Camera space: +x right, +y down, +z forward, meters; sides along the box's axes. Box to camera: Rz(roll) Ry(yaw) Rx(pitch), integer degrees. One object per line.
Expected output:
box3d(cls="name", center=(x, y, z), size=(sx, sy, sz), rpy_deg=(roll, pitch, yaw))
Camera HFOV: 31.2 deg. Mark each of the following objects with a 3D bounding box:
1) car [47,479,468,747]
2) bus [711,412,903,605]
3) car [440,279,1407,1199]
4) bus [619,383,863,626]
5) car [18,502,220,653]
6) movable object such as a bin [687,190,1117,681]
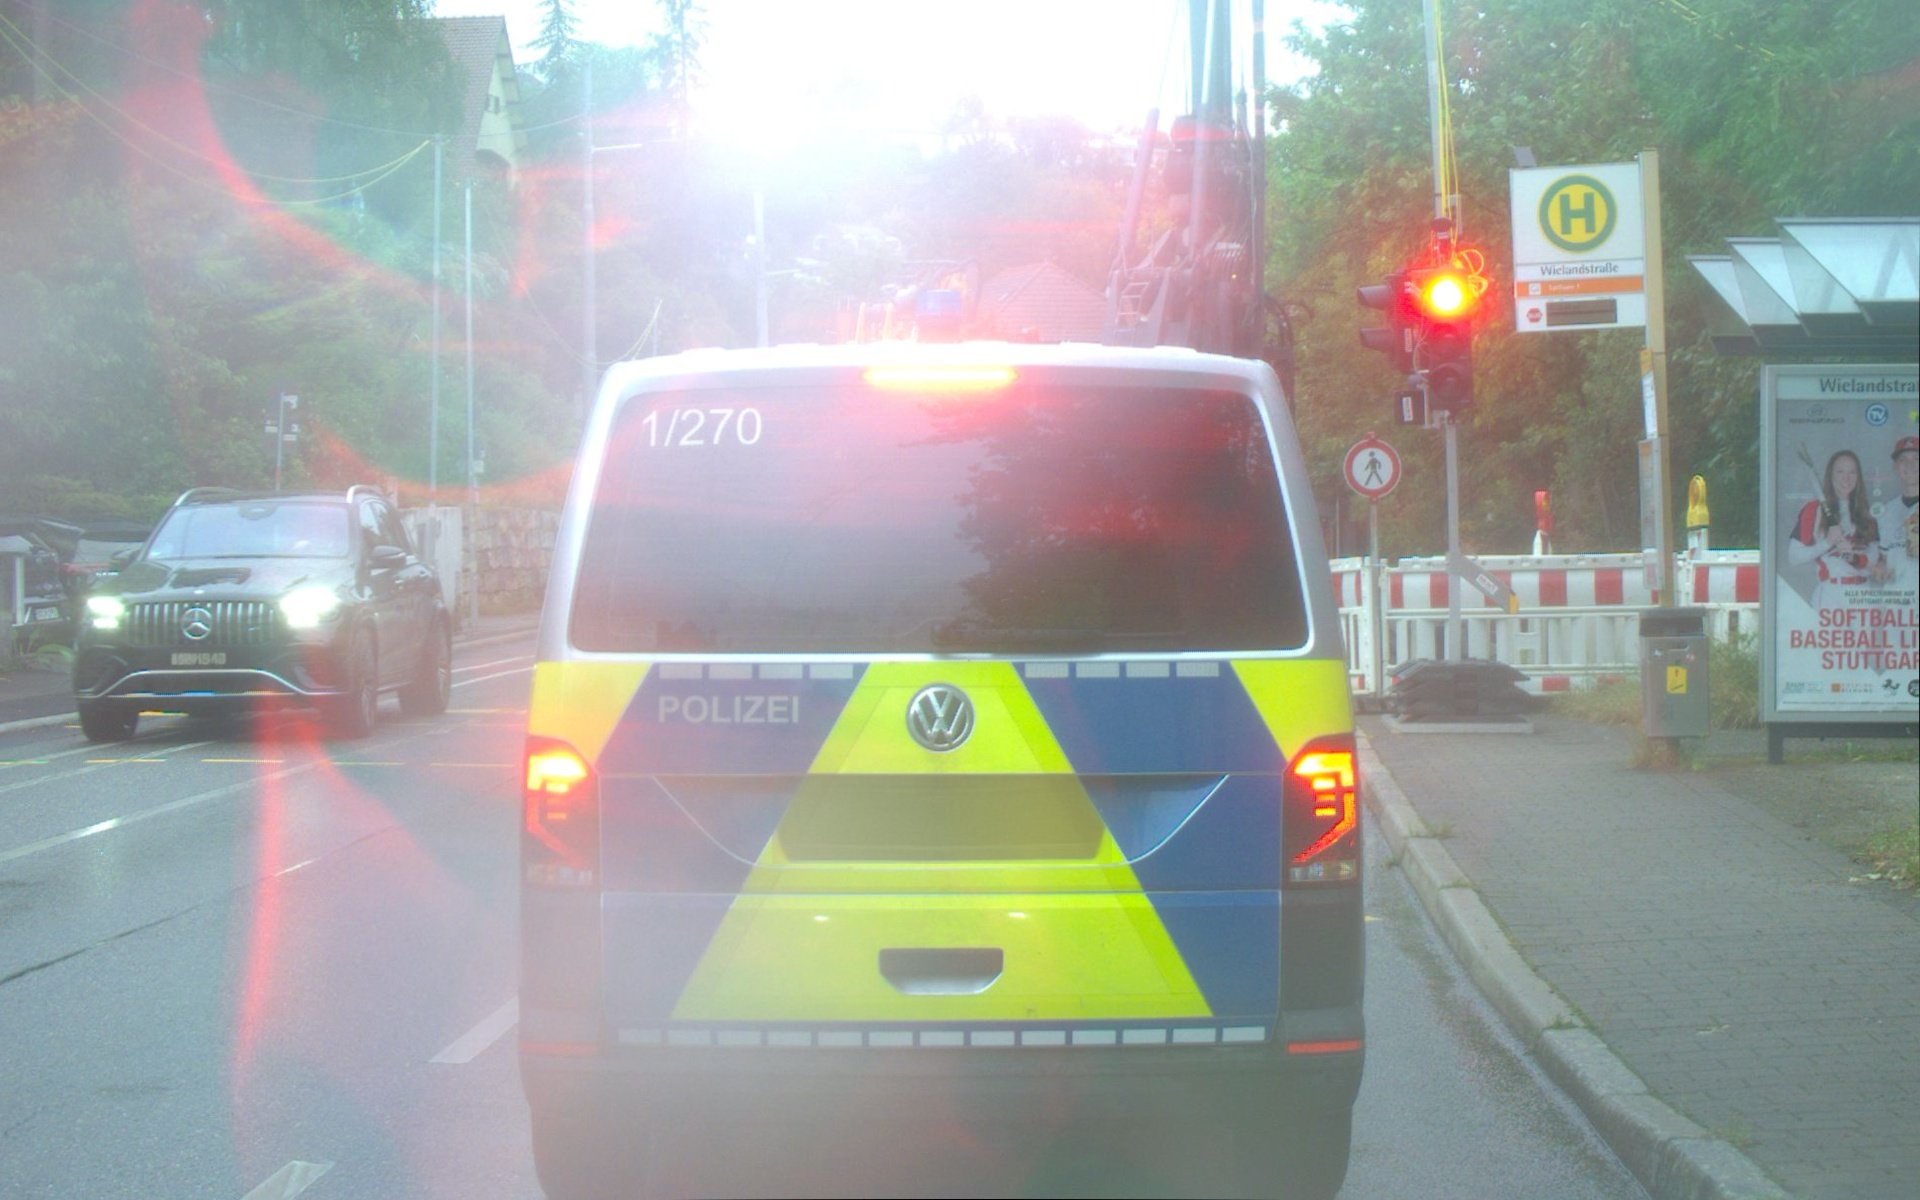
box3d(cls="car", center=(-4.981, 0.029, 25.034), size=(1.979, 1.742, 4.553), rpy_deg=(1, 1, 2))
box3d(cls="bus", center=(-2.991, -1.849, 70.753), size=(2.841, 3.612, 12.005), rpy_deg=(1, 1, 3))
box3d(cls="car", center=(-0.098, 0.359, 8.825), size=(1.893, 2.043, 4.000), rpy_deg=(1, 1, -1))
box3d(cls="bus", center=(-3.537, -1.598, 58.882), size=(2.841, 3.705, 12.005), rpy_deg=(1, 1, 3))
box3d(cls="car", center=(-9.329, -0.280, 37.968), size=(1.765, 1.481, 3.743), rpy_deg=(1, 3, -20))
box3d(cls="movable object such as a bin", center=(-0.426, -1.458, 31.625), size=(2.832, 4.163, 4.378), rpy_deg=(1, 1, 15))
